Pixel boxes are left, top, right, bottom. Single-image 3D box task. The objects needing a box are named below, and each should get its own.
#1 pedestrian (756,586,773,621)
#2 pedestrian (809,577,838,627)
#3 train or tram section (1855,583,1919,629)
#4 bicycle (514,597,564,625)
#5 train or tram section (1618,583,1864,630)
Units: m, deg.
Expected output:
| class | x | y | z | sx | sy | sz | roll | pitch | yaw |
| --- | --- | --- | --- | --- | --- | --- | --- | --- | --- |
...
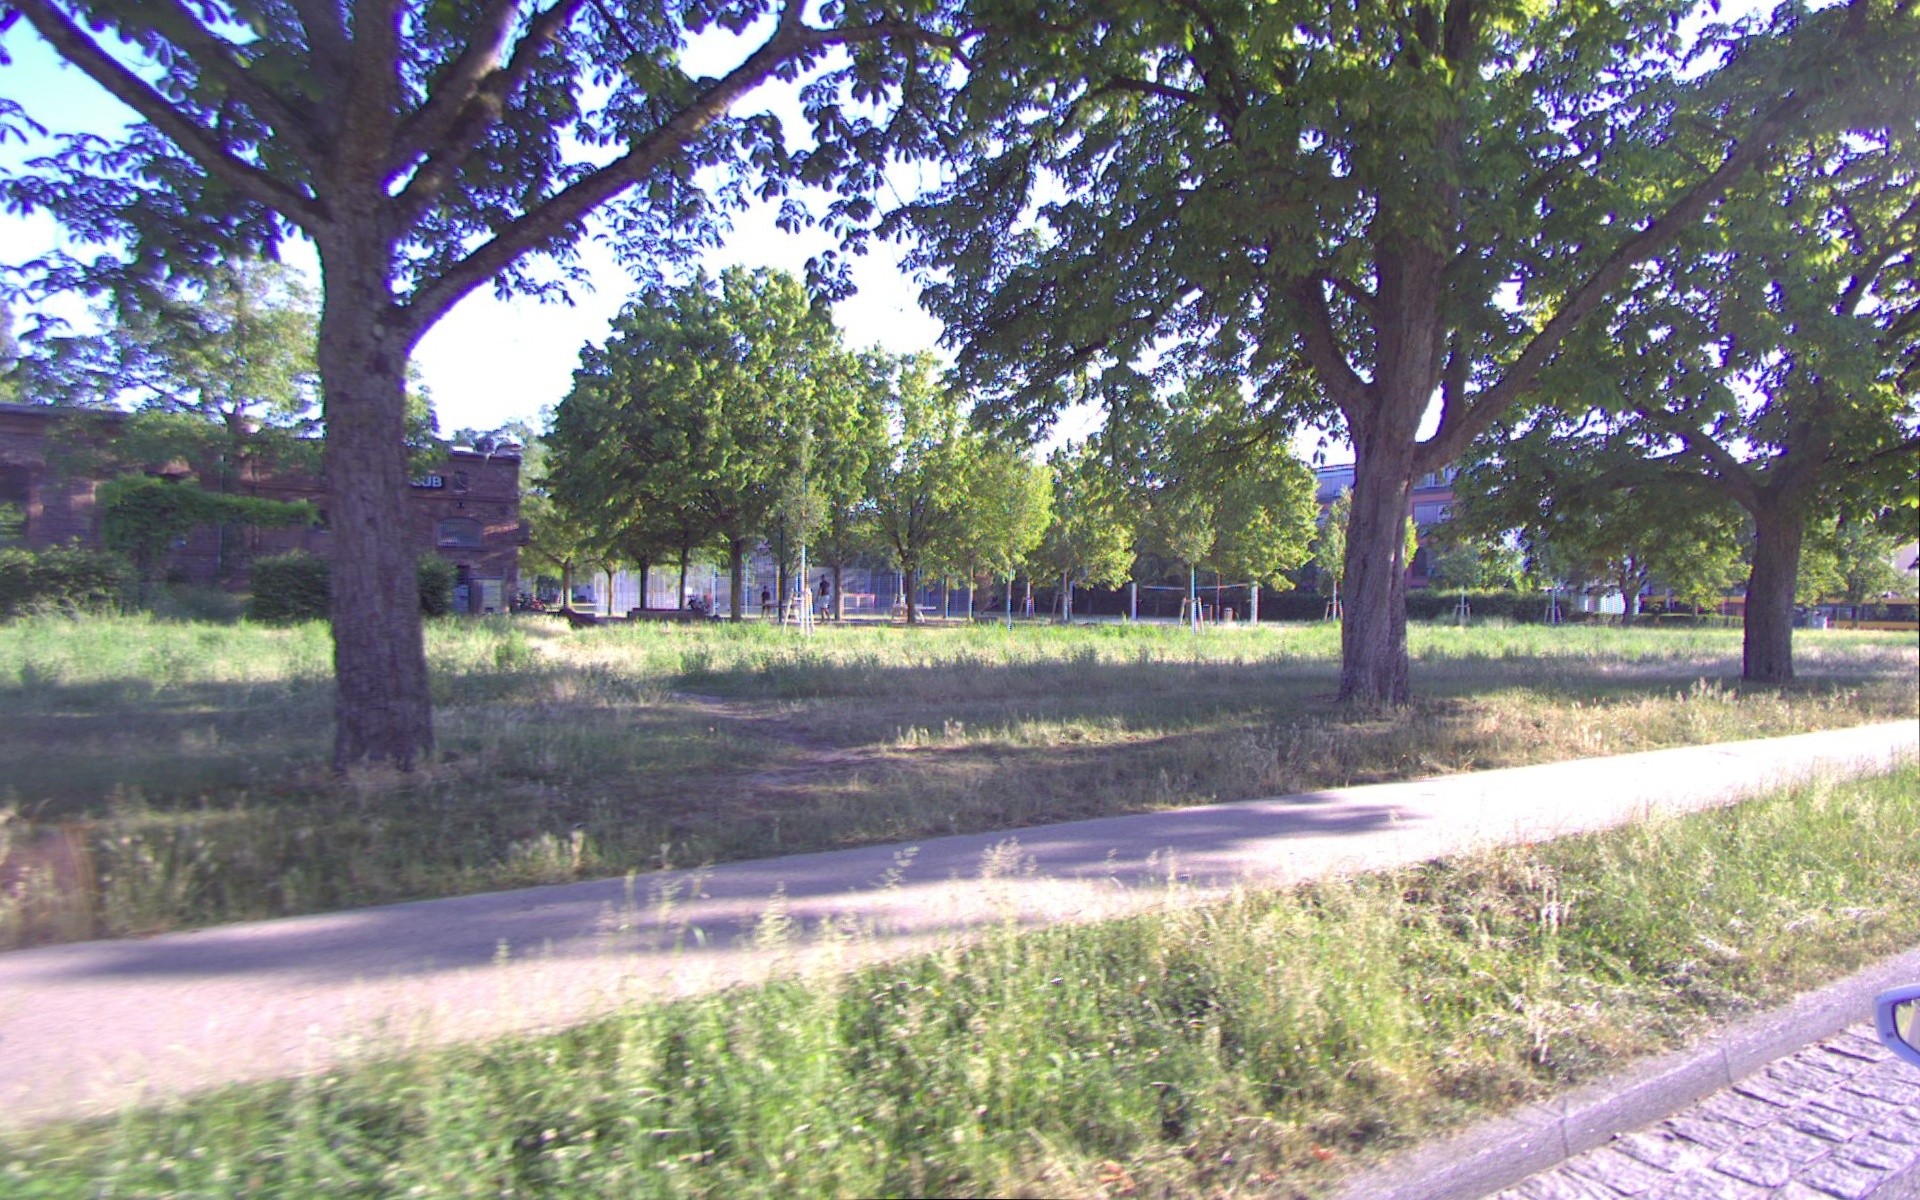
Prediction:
| class | x | y | z | sx | sy | sz | roll | pitch | yaw |
| --- | --- | --- | --- | --- | --- | --- | --- | --- | --- |
| pedestrian | -8.638 | 0.144 | 44.342 | 0.497 | 1.498 | 0.583 | 1 | 1 | -40 |
| pedestrian | -5.318 | 0.066 | 39.137 | 0.787 | 1.906 | 1.044 | 1 | 1 | -28 |
| train or tram section | 88.549 | 0.741 | 84.387 | 3.611 | 4.009 | 19.632 | 1 | 1 | -37 |
| bicycle | -19.977 | 0.513 | 47.648 | 2.123 | 1.287 | 0.681 | 1 | 1 | -29 |
| train or tram section | 76.750 | 0.474 | 99.722 | 3.611 | 4.009 | 18.924 | 1 | 1 | -38 |
